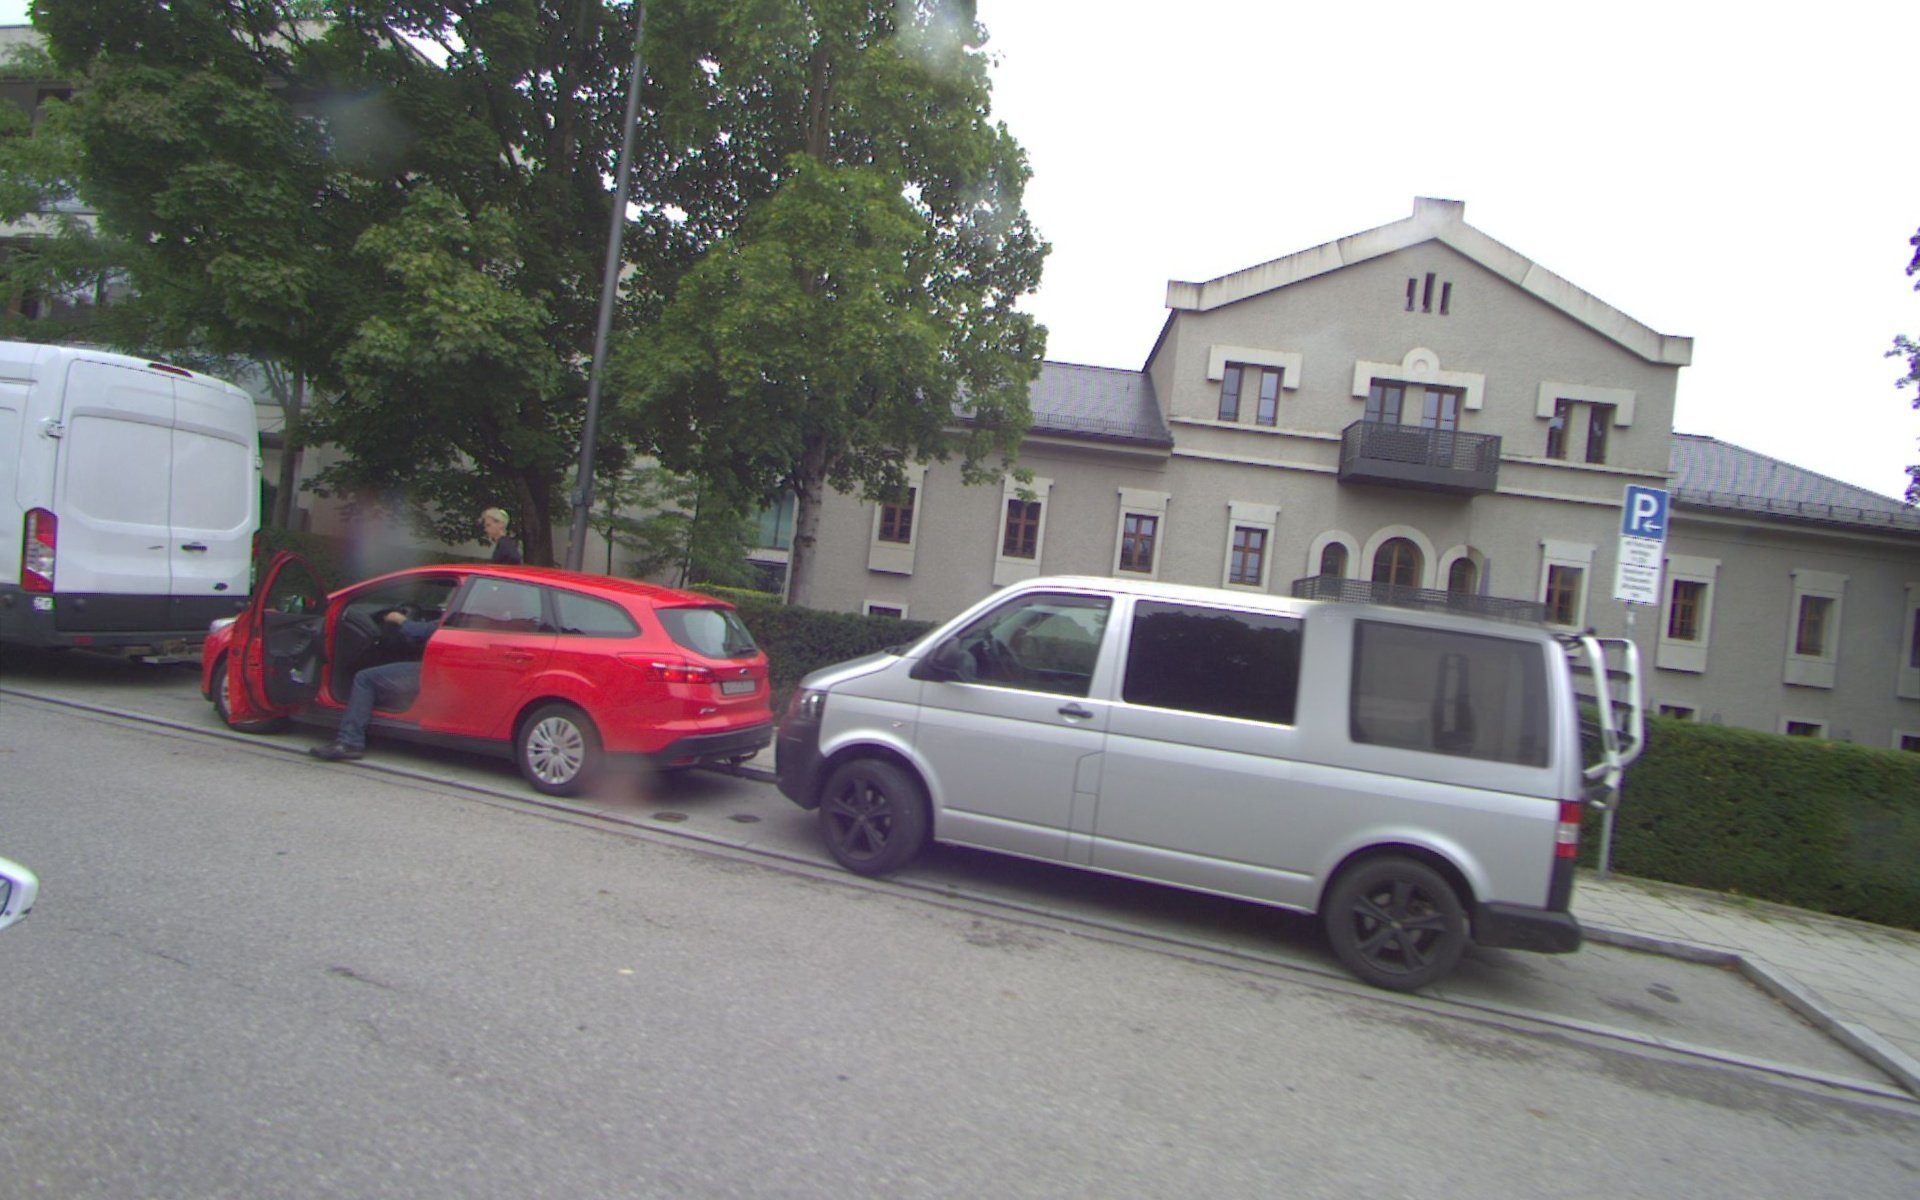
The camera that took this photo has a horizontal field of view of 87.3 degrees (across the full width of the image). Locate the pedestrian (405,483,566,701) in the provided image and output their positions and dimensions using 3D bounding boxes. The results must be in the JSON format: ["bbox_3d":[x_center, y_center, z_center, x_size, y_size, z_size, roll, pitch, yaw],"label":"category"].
[{"bbox_3d":[-4.535,-0.055,9.655,0.849,1.925,0.798,7,-1,21],"label":"pedestrian"}]

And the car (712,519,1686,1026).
[{"bbox_3d":[1.223,0.809,6.428,4.975,1.929,1.941,8,1,15],"label":"car"}]

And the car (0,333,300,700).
[{"bbox_3d":[-9.535,-0.970,9.203,5.972,2.721,2.086,8,1,13],"label":"car"}]

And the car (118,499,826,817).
[{"bbox_3d":[-3.688,0.341,7.877,4.745,1.526,1.877,8,1,13],"label":"car"}]
